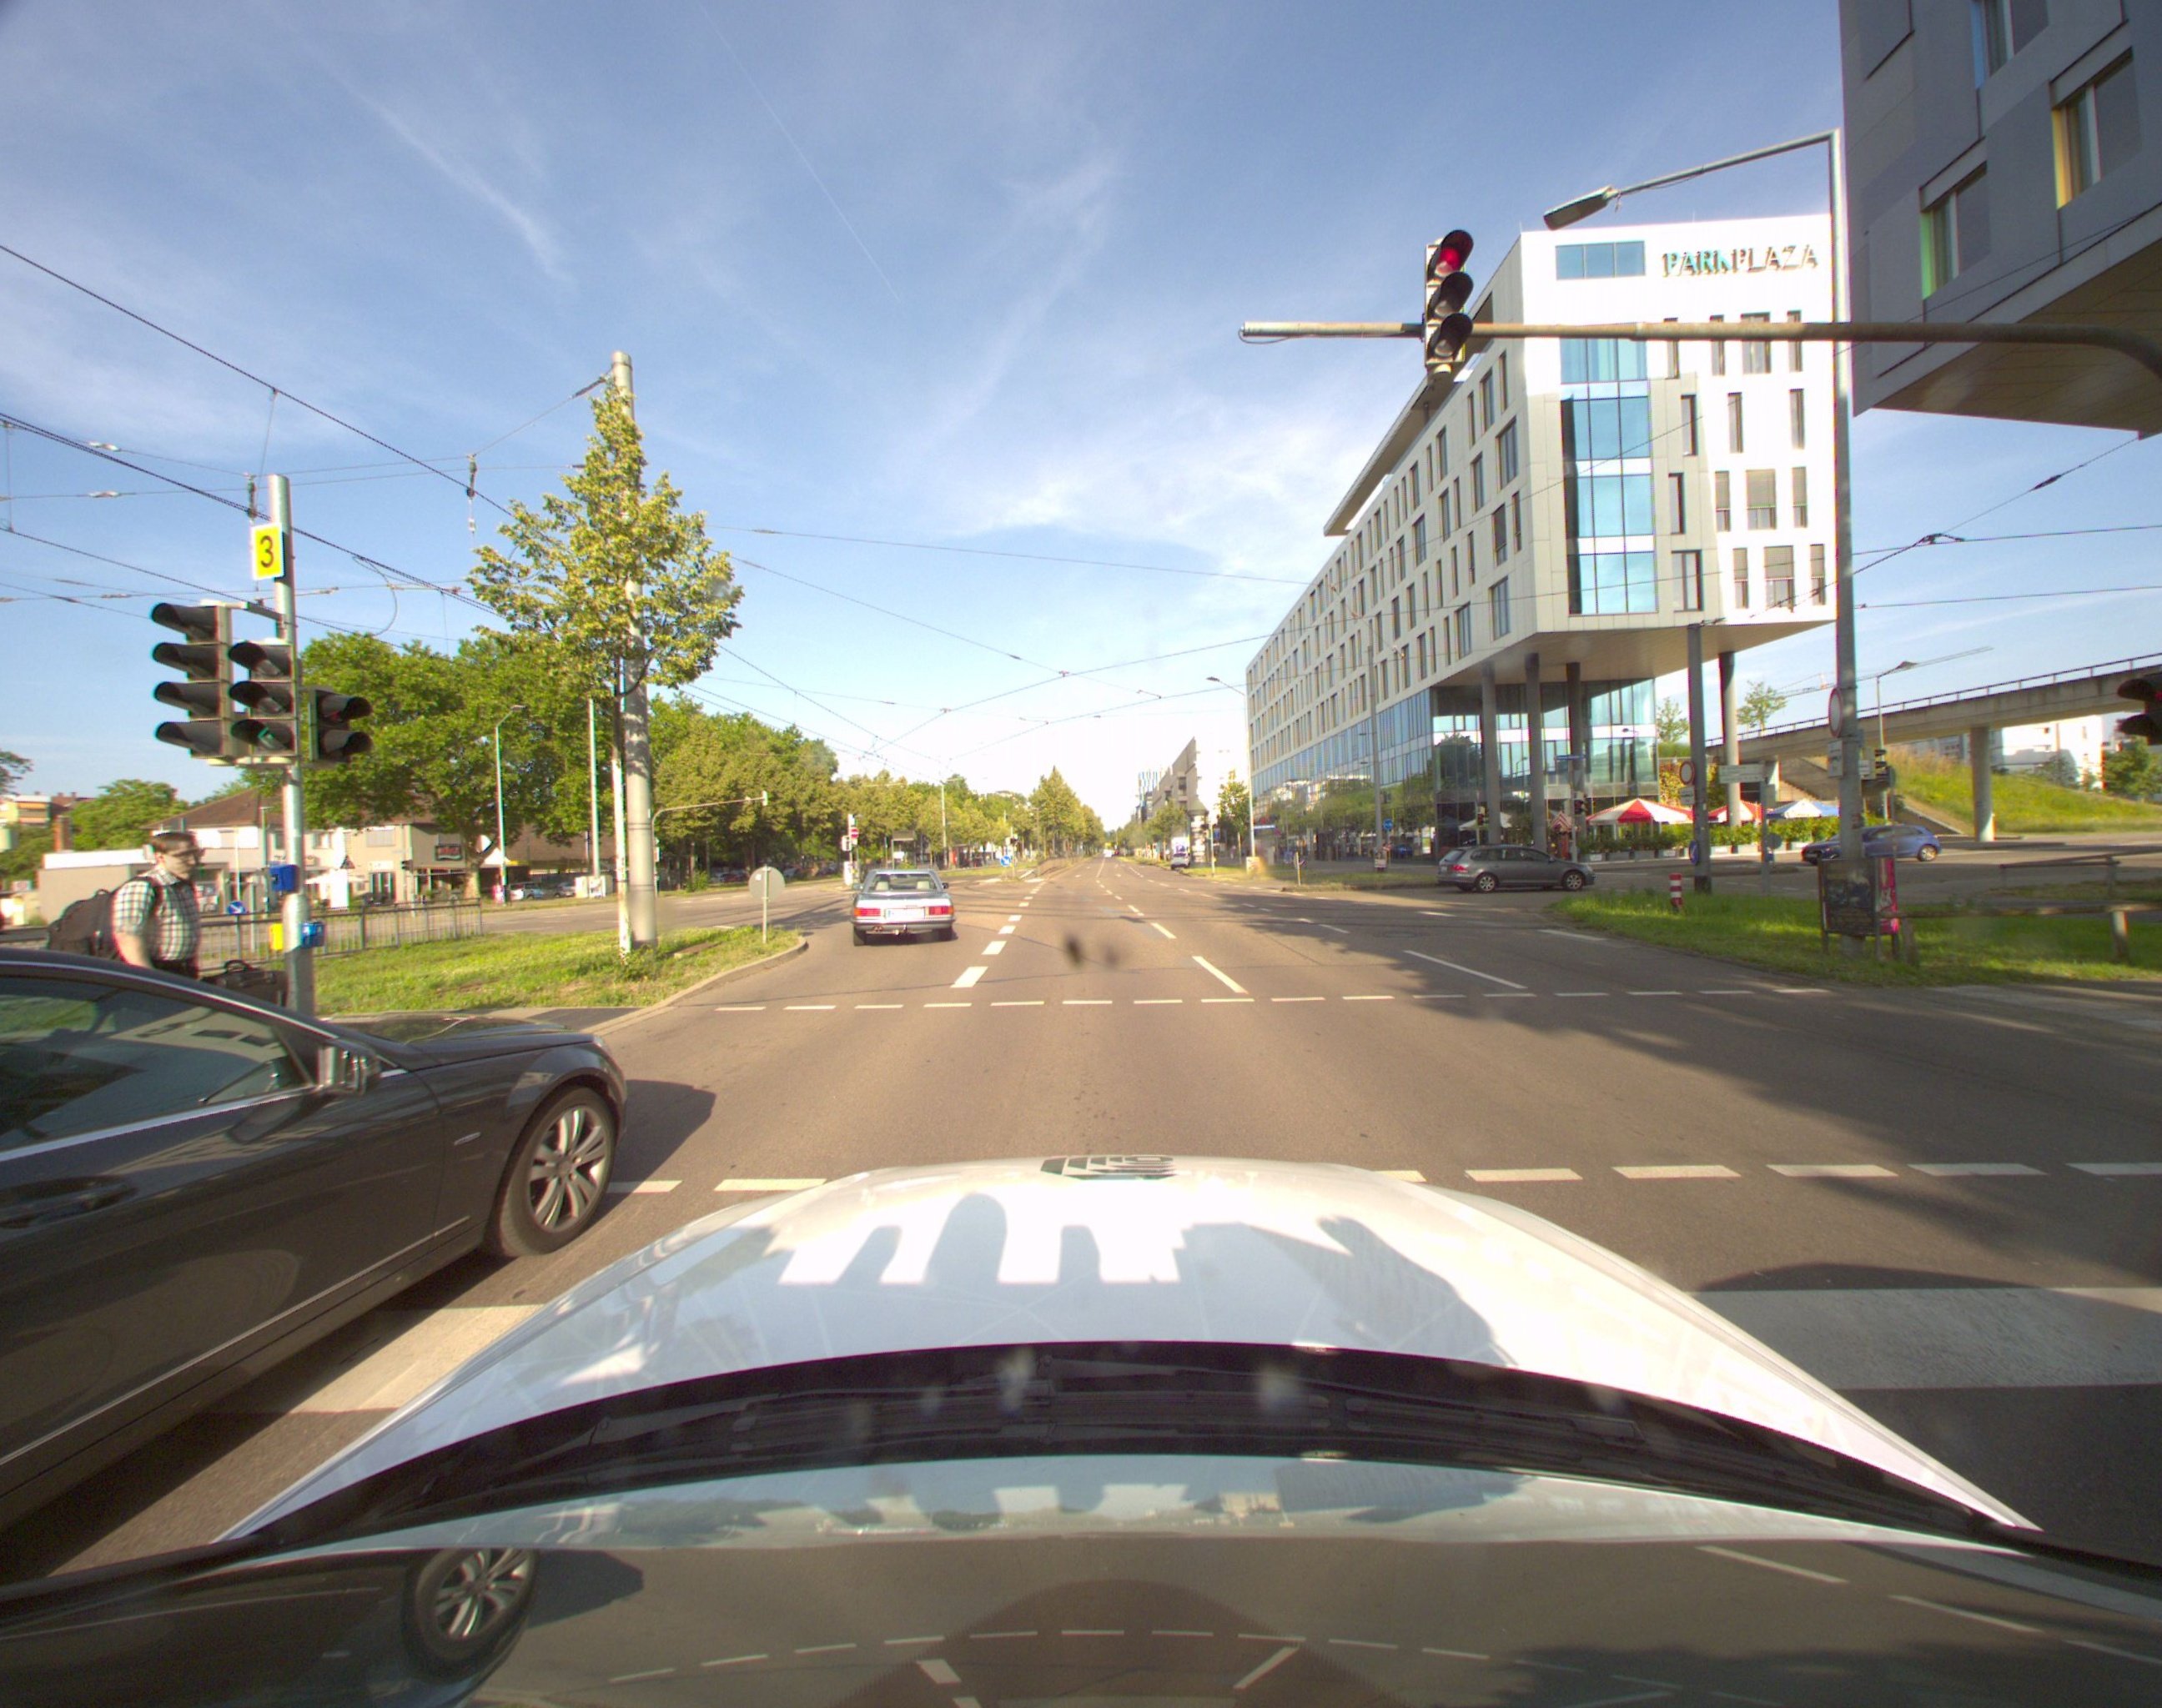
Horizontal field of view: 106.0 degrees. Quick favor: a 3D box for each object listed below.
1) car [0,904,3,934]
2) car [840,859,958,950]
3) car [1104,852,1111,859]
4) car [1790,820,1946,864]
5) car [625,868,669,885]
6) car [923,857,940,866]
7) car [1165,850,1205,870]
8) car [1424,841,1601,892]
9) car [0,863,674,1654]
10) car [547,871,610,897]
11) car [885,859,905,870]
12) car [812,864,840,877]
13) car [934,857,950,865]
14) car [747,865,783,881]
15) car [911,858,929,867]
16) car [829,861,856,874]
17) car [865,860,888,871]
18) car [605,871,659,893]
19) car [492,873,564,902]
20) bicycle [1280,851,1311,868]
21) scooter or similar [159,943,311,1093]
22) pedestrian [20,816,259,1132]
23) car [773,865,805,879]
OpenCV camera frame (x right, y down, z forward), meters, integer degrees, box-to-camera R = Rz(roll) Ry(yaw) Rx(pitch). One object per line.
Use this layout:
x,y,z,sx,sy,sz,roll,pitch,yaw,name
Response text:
-63.523,3.791,45.636,3.964,1.728,2.005,-2,0,8,car
-3.184,0.806,14.985,1.763,1.330,4.387,-2,0,-9,car
6.951,0.362,215.664,1.857,1.684,4.003,0,0,2,car
30.240,-0.456,31.367,4.170,1.424,1.859,-3,0,1,car
-43.771,2.226,82.155,1.871,1.559,4.008,-3,0,7,car
-27.525,1.426,150.398,1.871,1.559,4.008,-3,0,7,car
8.841,0.482,68.956,1.975,1.504,4.117,-5,-2,27,car
13.273,0.395,25.288,4.537,1.461,1.737,-1,-1,5,car
-2.976,0.812,1.757,1.779,1.479,4.358,0,1,3,car
-37.702,2.248,61.195,1.871,1.750,4.008,-2,0,7,car
-29.687,1.665,130.011,1.871,1.559,4.008,-3,0,7,car
-32.756,2.101,104.582,1.871,1.559,4.008,-3,0,7,car
-26.773,1.359,156.808,1.871,1.559,4.008,-3,0,7,car
-34.735,2.048,89.593,1.871,1.559,4.008,-3,0,7,car
-28.450,1.492,144.163,1.871,1.559,4.008,-3,0,7,car
-32.086,1.792,109.650,1.871,1.559,4.008,-3,0,7,car
-30.652,1.751,122.106,1.871,1.559,4.008,-3,0,7,car
-37.012,2.280,67.237,1.871,1.559,4.008,-3,0,7,car
-38.220,2.297,56.444,1.871,1.750,4.008,-2,0,7,car
13.893,0.320,52.809,0.778,1.032,1.856,-2,2,-42,bicycle
-5.675,1.084,5.480,0.546,0.907,0.430,-2,0,2,scooter or similar
-5.680,0.686,4.953,0.697,1.792,0.636,-1,0,2,pedestrian
-34.045,2.074,95.152,1.871,1.559,4.008,-3,0,7,car
